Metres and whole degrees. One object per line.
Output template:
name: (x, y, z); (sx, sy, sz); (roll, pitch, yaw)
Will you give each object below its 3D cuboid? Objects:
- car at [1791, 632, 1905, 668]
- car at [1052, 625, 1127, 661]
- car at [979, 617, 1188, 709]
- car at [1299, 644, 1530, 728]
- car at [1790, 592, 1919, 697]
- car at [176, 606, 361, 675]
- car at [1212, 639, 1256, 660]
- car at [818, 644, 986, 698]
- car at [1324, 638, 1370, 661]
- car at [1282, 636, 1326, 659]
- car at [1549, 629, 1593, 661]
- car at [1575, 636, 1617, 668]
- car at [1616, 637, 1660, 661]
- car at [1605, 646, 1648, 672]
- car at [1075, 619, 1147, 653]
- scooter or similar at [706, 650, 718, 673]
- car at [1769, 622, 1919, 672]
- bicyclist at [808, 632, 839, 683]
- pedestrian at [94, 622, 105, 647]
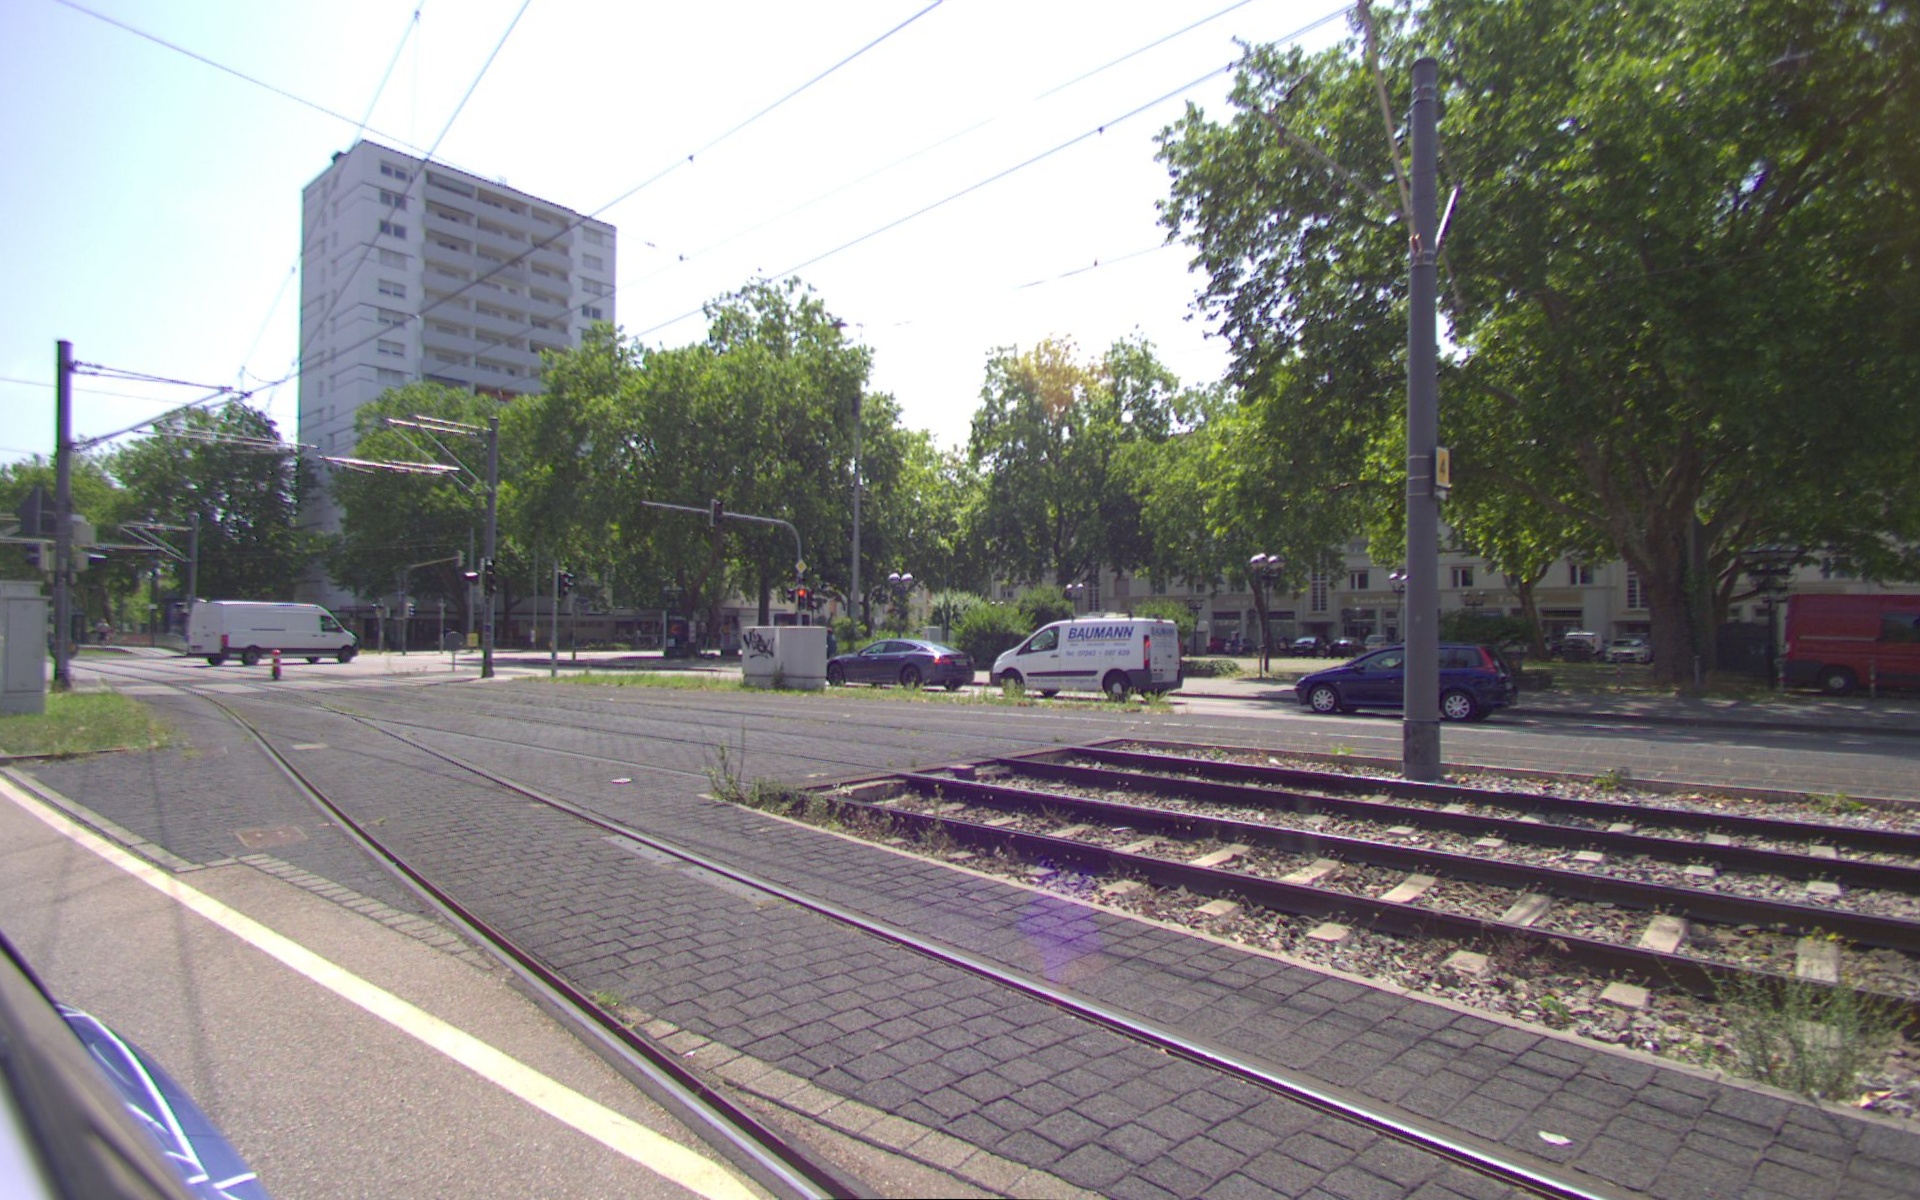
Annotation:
car: (42.117, 2.345, 48.135); (3.996, 1.623, 1.973); (-1, -2, 40)
car: (7.656, 2.519, 60.059); (3.997, 2.099, 1.973); (-1, -2, 40)
car: (2.885, 1.447, 24.334); (4.800, 2.006, 1.759); (-2, -3, 39)
car: (8.659, 1.591, 19.466); (3.779, 1.431, 1.580); (-2, -4, 40)
car: (22.631, 1.032, 23.623); (4.977, 2.411, 1.828); (-1, -2, 40)
car: (-28.765, 1.673, 42.515); (2.059, 2.657, 6.597); (-1, -2, 16)
car: (19.194, 3.441, 70.805); (1.620, 1.420, 3.659); (-2, -2, 39)
car: (-1.679, 1.921, 28.249); (4.623, 1.369, 1.928); (-2, -3, 39)
car: (25.108, 3.185, 65.626); (1.620, 1.420, 3.875); (-2, -2, 39)
car: (22.916, 3.126, 67.353); (1.620, 1.420, 3.659); (-2, -2, 39)
car: (34.571, 2.522, 57.240); (1.620, 1.759, 3.659); (-2, -2, 39)
car: (41.290, 3.360, 65.648); (1.574, 1.964, 3.870); (-2, -2, 43)
car: (42.790, 3.074, 63.835); (1.622, 1.420, 3.870); (-2, -2, 43)
car: (36.125, 3.171, 54.813); (1.824, 1.303, 3.823); (-1, -2, 35)
car: (9.398, 2.226, 63.156); (3.997, 2.099, 1.973); (-1, -2, 40)
scooter or similar: (-12.358, 3.058, 50.426); (0.253, 1.129, 0.979); (1, -2, -37)
car: (36.970, 1.935, 42.013); (5.096, 2.006, 1.900); (-2, -3, 36)
bicyclist: (-4.624, 1.926, 34.252); (0.867, 1.698, 0.632); (-2, -2, 37)
pedestrian: (-58.201, 2.336, 68.434); (0.554, 1.724, 0.504); (-2, -2, 41)
